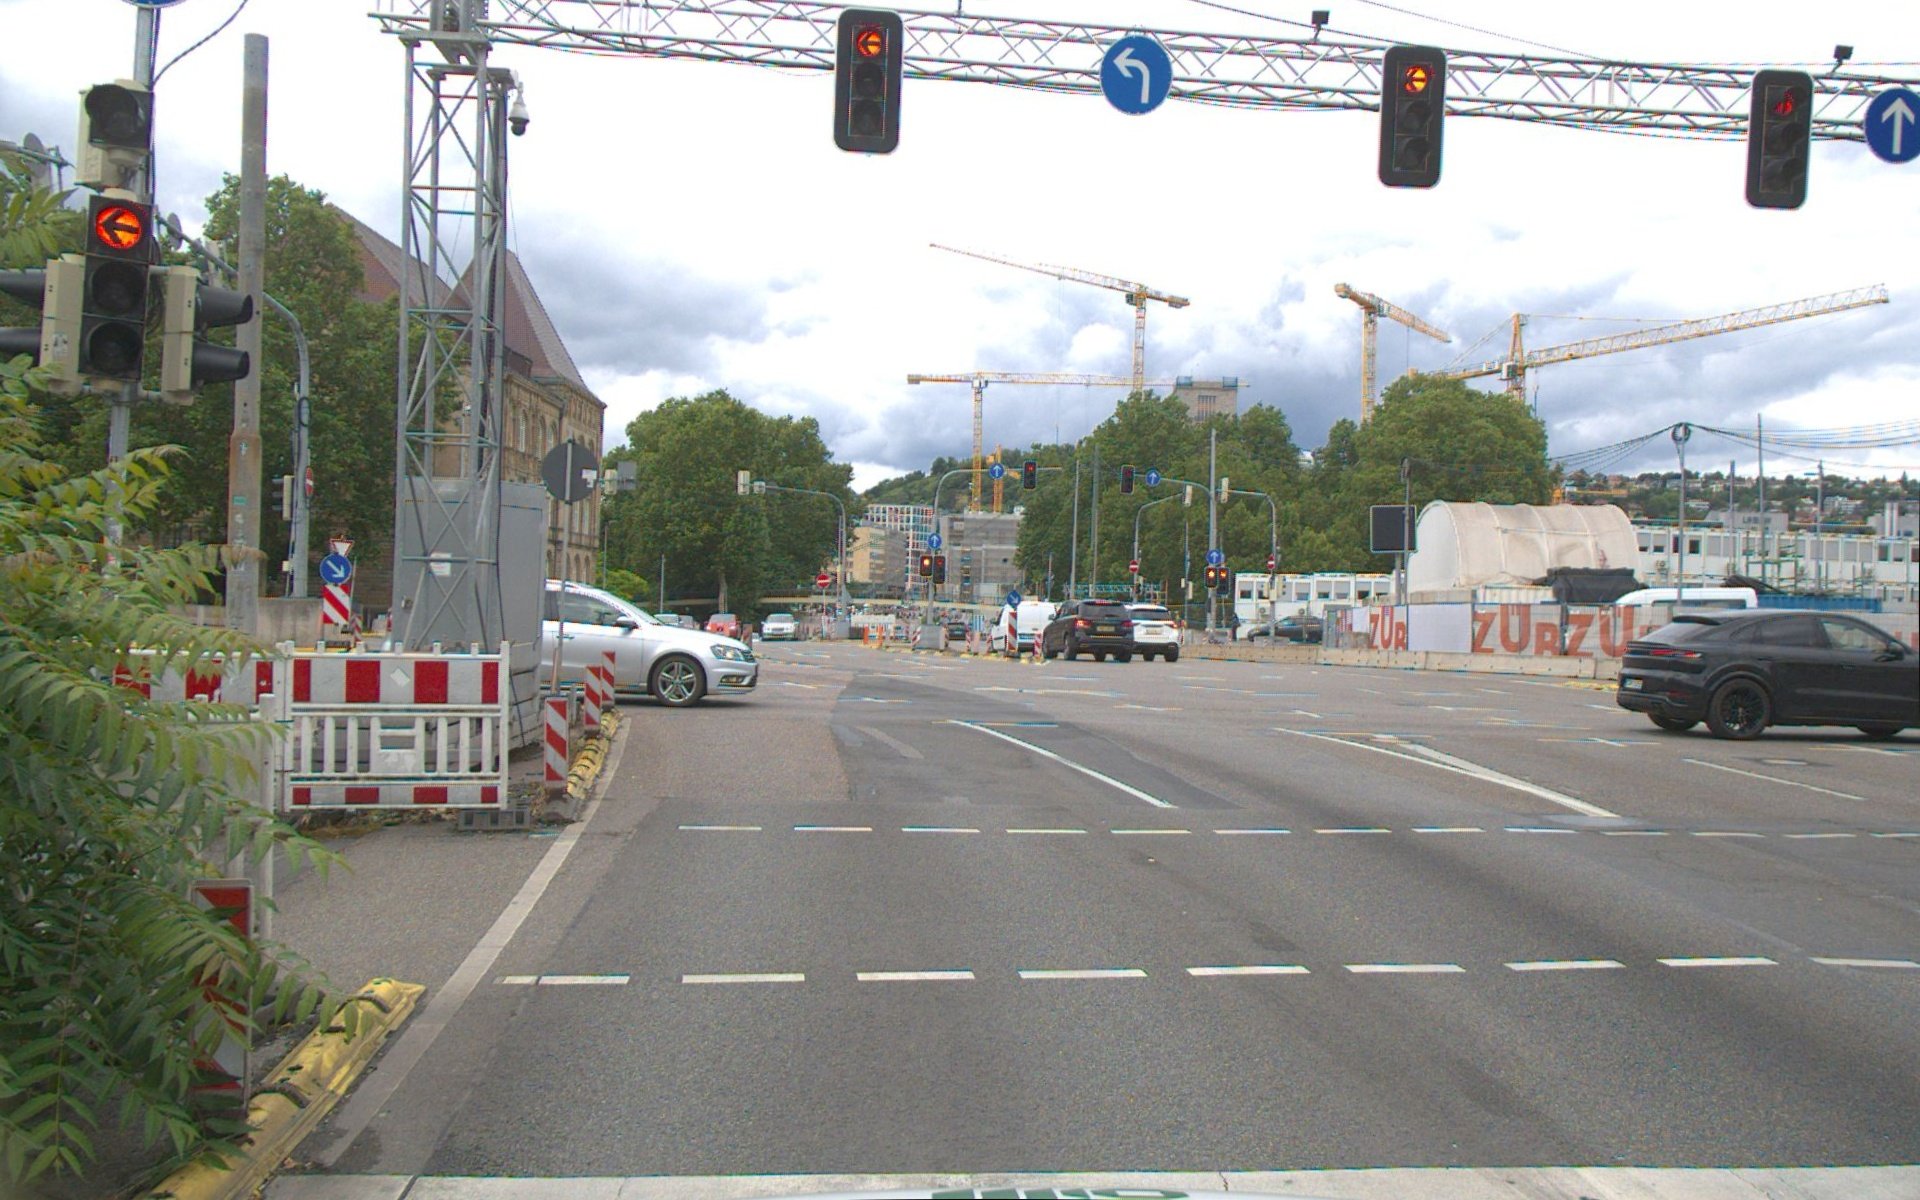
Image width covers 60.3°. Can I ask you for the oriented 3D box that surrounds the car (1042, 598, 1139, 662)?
[{"bbox_3d":[3.778,0.839,48.521,1.799,1.776,4.245,1,0,-10],"label":"car"}]

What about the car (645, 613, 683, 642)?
[{"bbox_3d":[-15.259,1.425,85.369,1.644,1.422,3.677,1,0,-7],"label":"car"}]

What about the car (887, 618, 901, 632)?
[{"bbox_3d":[-10.120,3.839,253.512,1.954,2.049,3.997,1,0,-3],"label":"car"}]

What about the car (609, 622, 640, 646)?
[{"bbox_3d":[-21.883,2.238,107.915,1.644,1.423,3.677,1,-3,-6],"label":"car"}]

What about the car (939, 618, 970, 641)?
[{"bbox_3d":[-0.393,1.939,109.724,1.644,1.422,3.677,1,0,-7],"label":"car"}]

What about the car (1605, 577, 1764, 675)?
[{"bbox_3d":[20.822,0.740,47.675,3.902,2.708,1.683,1,0,13],"label":"car"}]

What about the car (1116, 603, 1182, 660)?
[{"bbox_3d":[6.040,0.995,53.120,1.642,1.732,3.374,1,0,-1],"label":"car"}]

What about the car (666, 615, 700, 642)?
[{"bbox_3d":[-15.300,1.553,91.528,1.644,1.422,3.677,1,0,-7],"label":"car"}]

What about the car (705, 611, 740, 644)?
[{"bbox_3d":[-12.127,1.382,84.508,1.644,1.608,3.677,1,0,-7],"label":"car"}]

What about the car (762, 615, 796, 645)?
[{"bbox_3d":[-9.296,1.525,84.855,1.644,1.422,3.677,1,0,-7],"label":"car"}]

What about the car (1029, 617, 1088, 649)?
[{"bbox_3d":[4.509,1.507,76.031,1.650,1.422,3.070,1,0,-19],"label":"car"}]

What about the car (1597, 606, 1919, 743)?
[{"bbox_3d":[11.079,0.949,21.644,4.709,1.653,2.020,1,0,0],"label":"car"}]

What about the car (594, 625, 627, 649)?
[{"bbox_3d":[-21.331,2.246,101.059,1.644,1.422,3.677,1,0,-7],"label":"car"}]

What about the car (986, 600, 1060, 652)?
[{"bbox_3d":[2.079,0.850,55.542,1.783,1.653,3.993,1,0,-8],"label":"car"}]

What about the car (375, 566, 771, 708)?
[{"bbox_3d":[-4.773,0.459,20.898,4.617,1.653,1.680,1,0,-4],"label":"car"}]
